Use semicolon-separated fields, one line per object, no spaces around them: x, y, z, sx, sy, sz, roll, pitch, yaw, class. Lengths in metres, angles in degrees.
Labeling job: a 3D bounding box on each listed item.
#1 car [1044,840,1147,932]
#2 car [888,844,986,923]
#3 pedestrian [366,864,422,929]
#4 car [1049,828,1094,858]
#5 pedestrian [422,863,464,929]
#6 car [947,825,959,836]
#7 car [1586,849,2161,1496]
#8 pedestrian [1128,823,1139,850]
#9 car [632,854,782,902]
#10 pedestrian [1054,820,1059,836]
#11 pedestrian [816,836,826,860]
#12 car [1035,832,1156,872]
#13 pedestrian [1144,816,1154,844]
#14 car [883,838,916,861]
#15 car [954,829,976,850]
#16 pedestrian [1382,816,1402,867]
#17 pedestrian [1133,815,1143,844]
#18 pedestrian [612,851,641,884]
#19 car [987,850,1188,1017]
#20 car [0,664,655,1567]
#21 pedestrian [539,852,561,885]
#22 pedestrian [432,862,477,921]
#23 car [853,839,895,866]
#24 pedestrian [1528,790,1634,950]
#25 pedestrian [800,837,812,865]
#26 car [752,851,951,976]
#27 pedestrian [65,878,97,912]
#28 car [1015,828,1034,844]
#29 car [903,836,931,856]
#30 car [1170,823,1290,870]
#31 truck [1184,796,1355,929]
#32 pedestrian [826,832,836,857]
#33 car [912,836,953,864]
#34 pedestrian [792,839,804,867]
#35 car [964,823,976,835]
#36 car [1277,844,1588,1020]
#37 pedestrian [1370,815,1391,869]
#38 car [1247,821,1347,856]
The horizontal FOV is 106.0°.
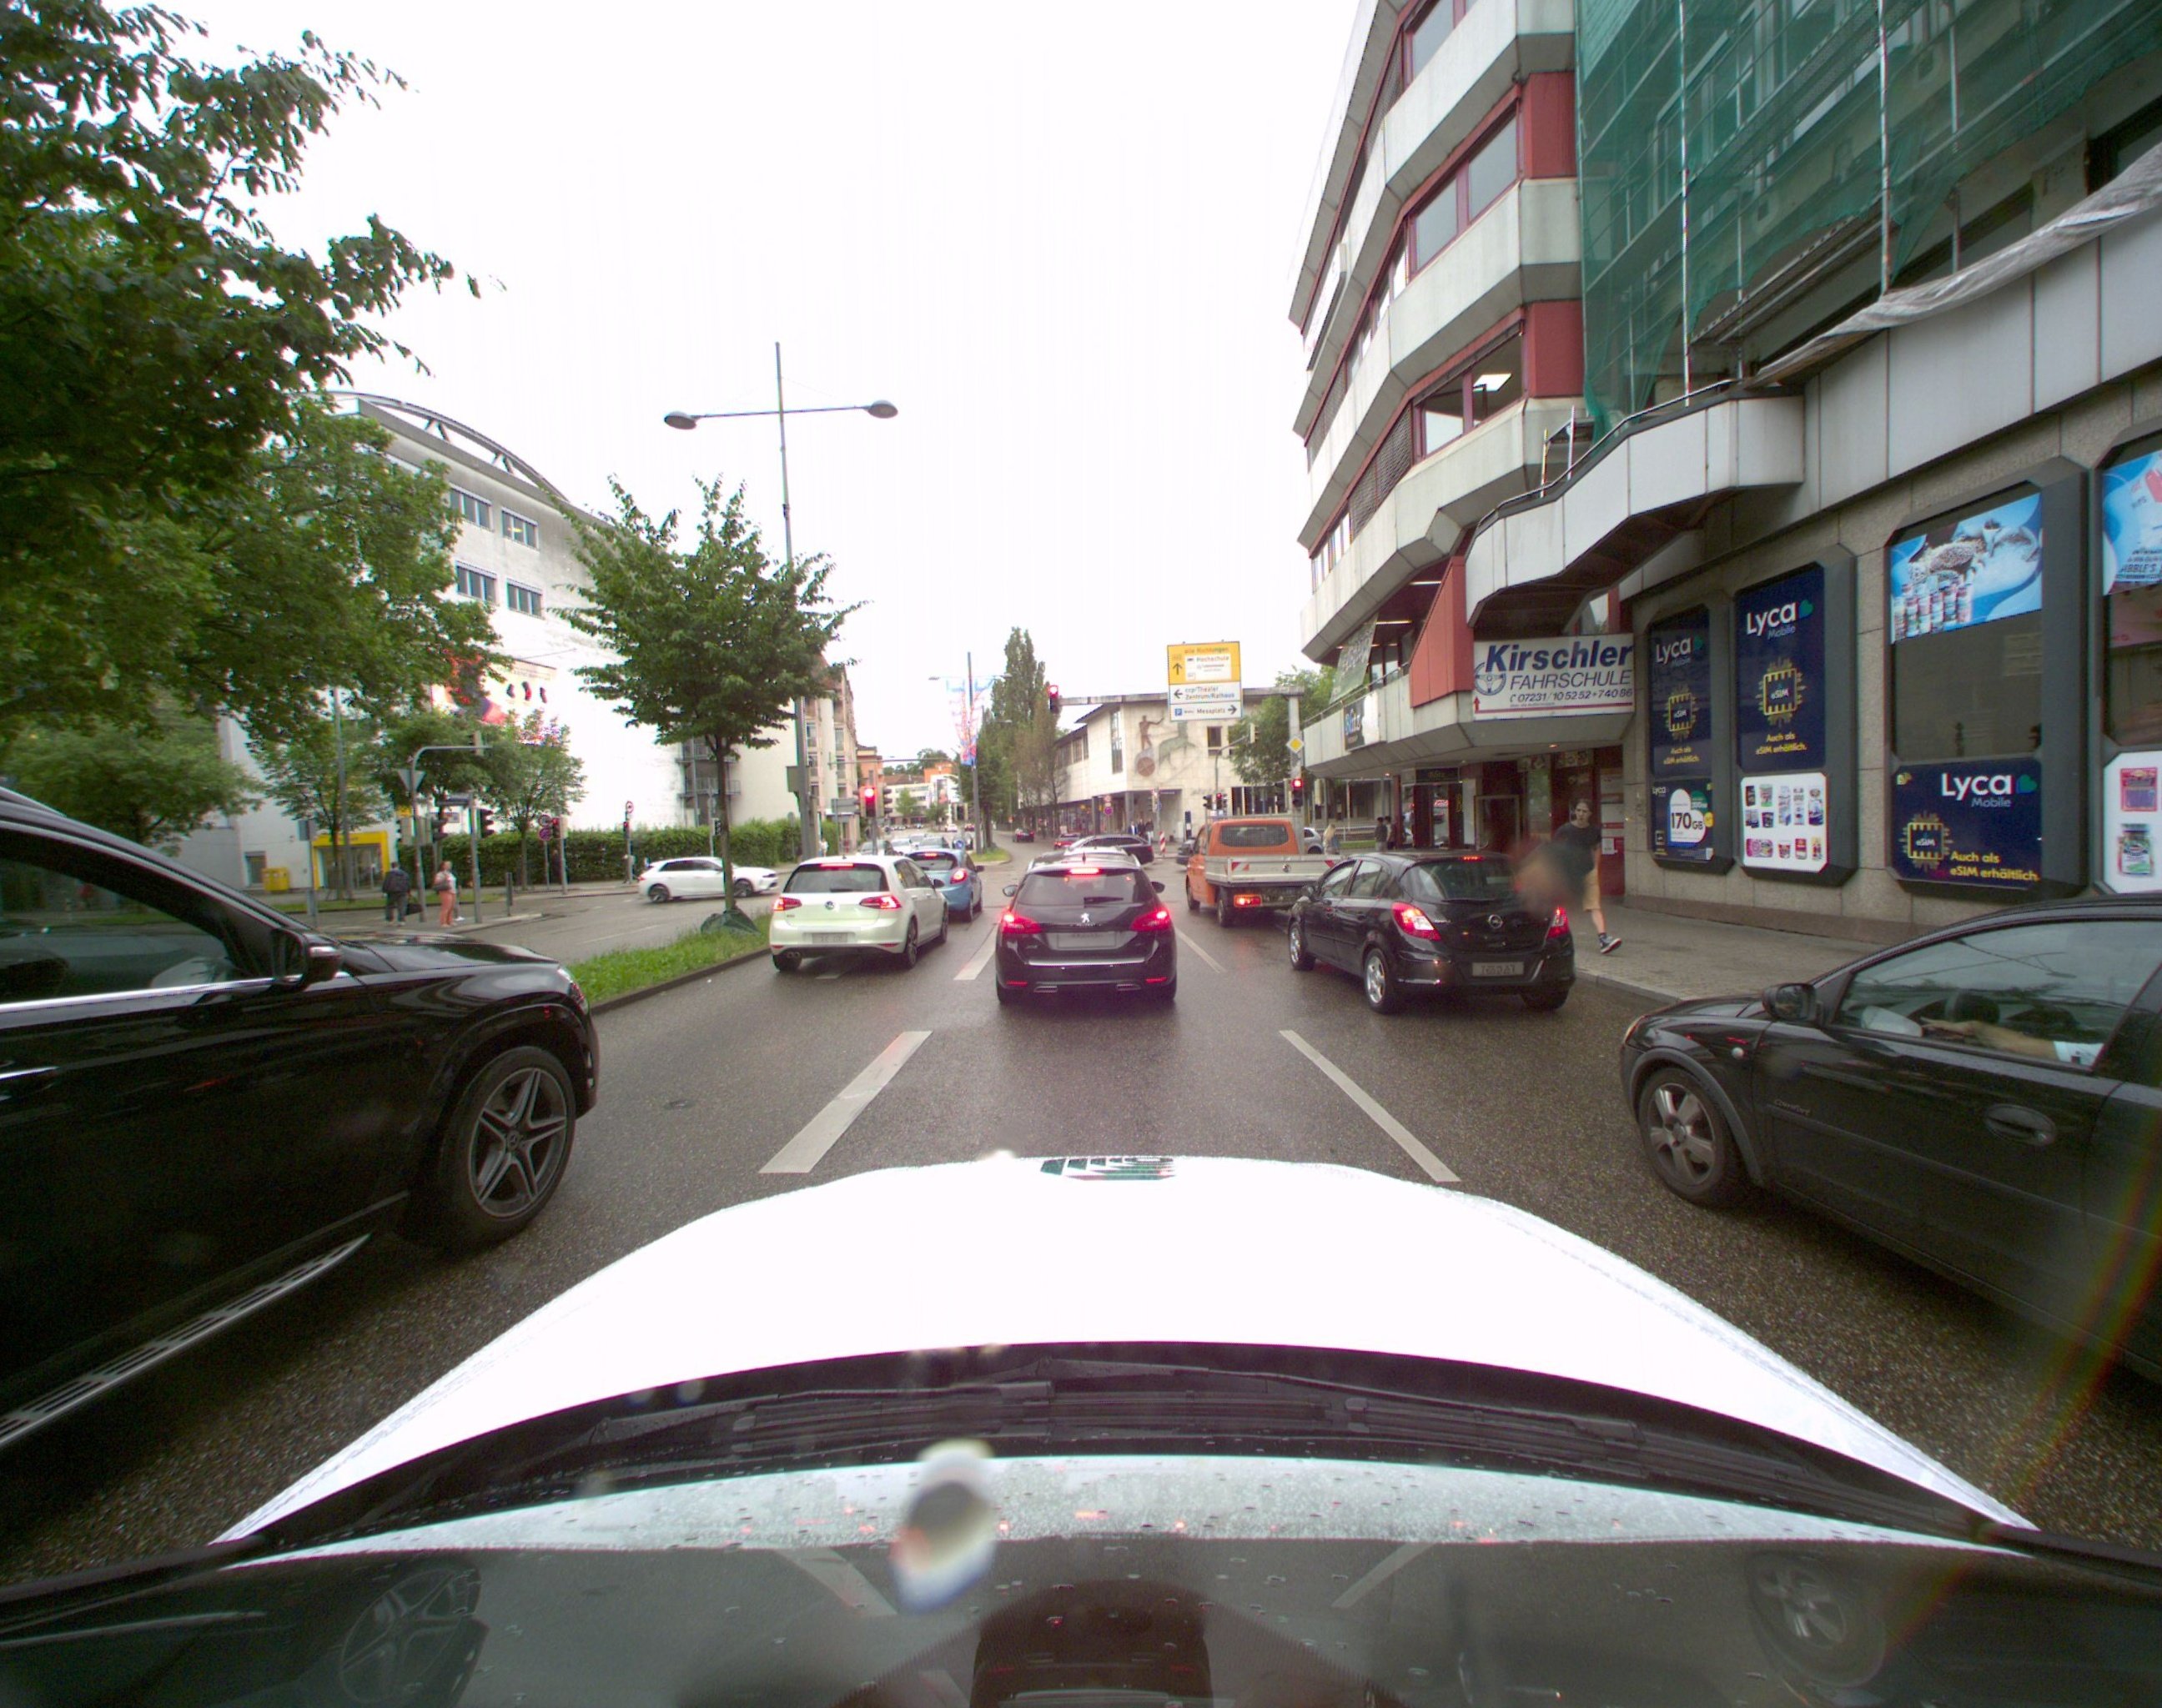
0.302;0.503;15.428;1.690;1.486;3.795;-1;1;2;car
-3.002;0.550;17.595;1.629;1.486;3.606;-1;1;-3;car
-19.127;1.165;22.697;0.921;1.784;0.708;-1;-1;-4;pedestrian
-0.517;-0.696;47.423;1.776;1.454;4.520;-3;3;9;car
-16.944;1.106;21.634;0.555;1.661;0.580;-2;2;2;pedestrian
-23.035;-4.179;146.813;1.709;1.882;3.979;0;-1;-15;car
3.265;0.723;2.287;1.600;1.429;3.626;-1;1;3;car
3.463;-1.167;53.933;0.633;1.758;0.735;-1;-1;8;pedestrian
-12.603;0.787;27.672;4.289;1.486;1.634;-1;1;-8;car
-2.733;-2.850;90.208;0.469;1.748;0.537;0;-1;-19;pedestrian
-18.672;-0.445;58.464;0.595;1.728;0.655;-1;-1;-7;pedestrian
0.576;-0.111;33.299;4.726;1.486;1.632;-1;1;-12;car
4.590;-1.617;55.069;0.633;1.897;0.735;-1;-1;8;pedestrian
-12.088;-0.330;54.400;1.630;1.486;3.604;-1;1;-4;car
-9.735;-1.173;68.190;1.743;1.640;3.988;-1;-1;-9;car
10.145;-0.406;26.574;0.395;1.640;0.504;-3;-1;2;pedestrian
3.861;-1.644;55.251;0.633;1.897;0.735;-1;-1;8;pedestrian
-22.461;0.672;40.253;1.059;1.578;0.683;-1;-1;-3;pedestrian
0.056;0.694;9.155;1.772;1.429;3.841;-1;1;0;car
-3.196;0.550;1.677;1.905;1.870;5.073;-1;-1;1;car
-26.748;0.735;41.025;0.730;1.643;0.638;-1;-1;-6;pedestrian
-18.343;1.084;23.855;0.750;1.661;0.628;-2;2;1;pedestrian
-12.000;-0.113;47.480;1.569;1.486;3.608;-1;1;-1;car
6.095;0.195;9.973;0.736;1.816;0.776;-6;-1;13;pedestrian
-17.592;-0.175;52.085;0.538;1.748;0.564;-1;-1;-3;pedestrian
-3.038;0.705;11.643;1.772;1.429;3.841;-1;1;-1;car
-48.559;1.993;39.541;0.633;1.643;0.735;-1;-1;8;pedestrian
-5.917;-1.823;85.018;1.723;1.490;4.722;-1;-1;-6;car
-12.424;-0.649;61.891;1.630;1.486;3.604;-1;1;-4;car
5.742;-0.294;31.529;4.226;1.565;1.699;-3;1;-9;car
3.433;0.084;15.937;2.170;2.172;5.020;-1;1;0;truck
-18.090;-0.688;58.891;0.595;1.728;0.655;-1;-1;-7;pedestrian
-8.772;-0.211;48.286;1.739;1.579;3.997;-1;-1;-1;car
-17.508;-0.060;50.452;0.538;1.748;0.745;-1;-1;-7;pedestrian
-20.225;-4.540;148.063;1.709;1.936;3.979;0;-1;-15;car
3.387;0.620;8.682;1.611;1.429;3.840;-1;1;-1;car
9.640;-0.379;26.190;0.424;1.682;0.450;-3;-1;0;pedestrian
9.402;-0.668;35.557;3.896;1.486;1.617;0;-1;-11;car
